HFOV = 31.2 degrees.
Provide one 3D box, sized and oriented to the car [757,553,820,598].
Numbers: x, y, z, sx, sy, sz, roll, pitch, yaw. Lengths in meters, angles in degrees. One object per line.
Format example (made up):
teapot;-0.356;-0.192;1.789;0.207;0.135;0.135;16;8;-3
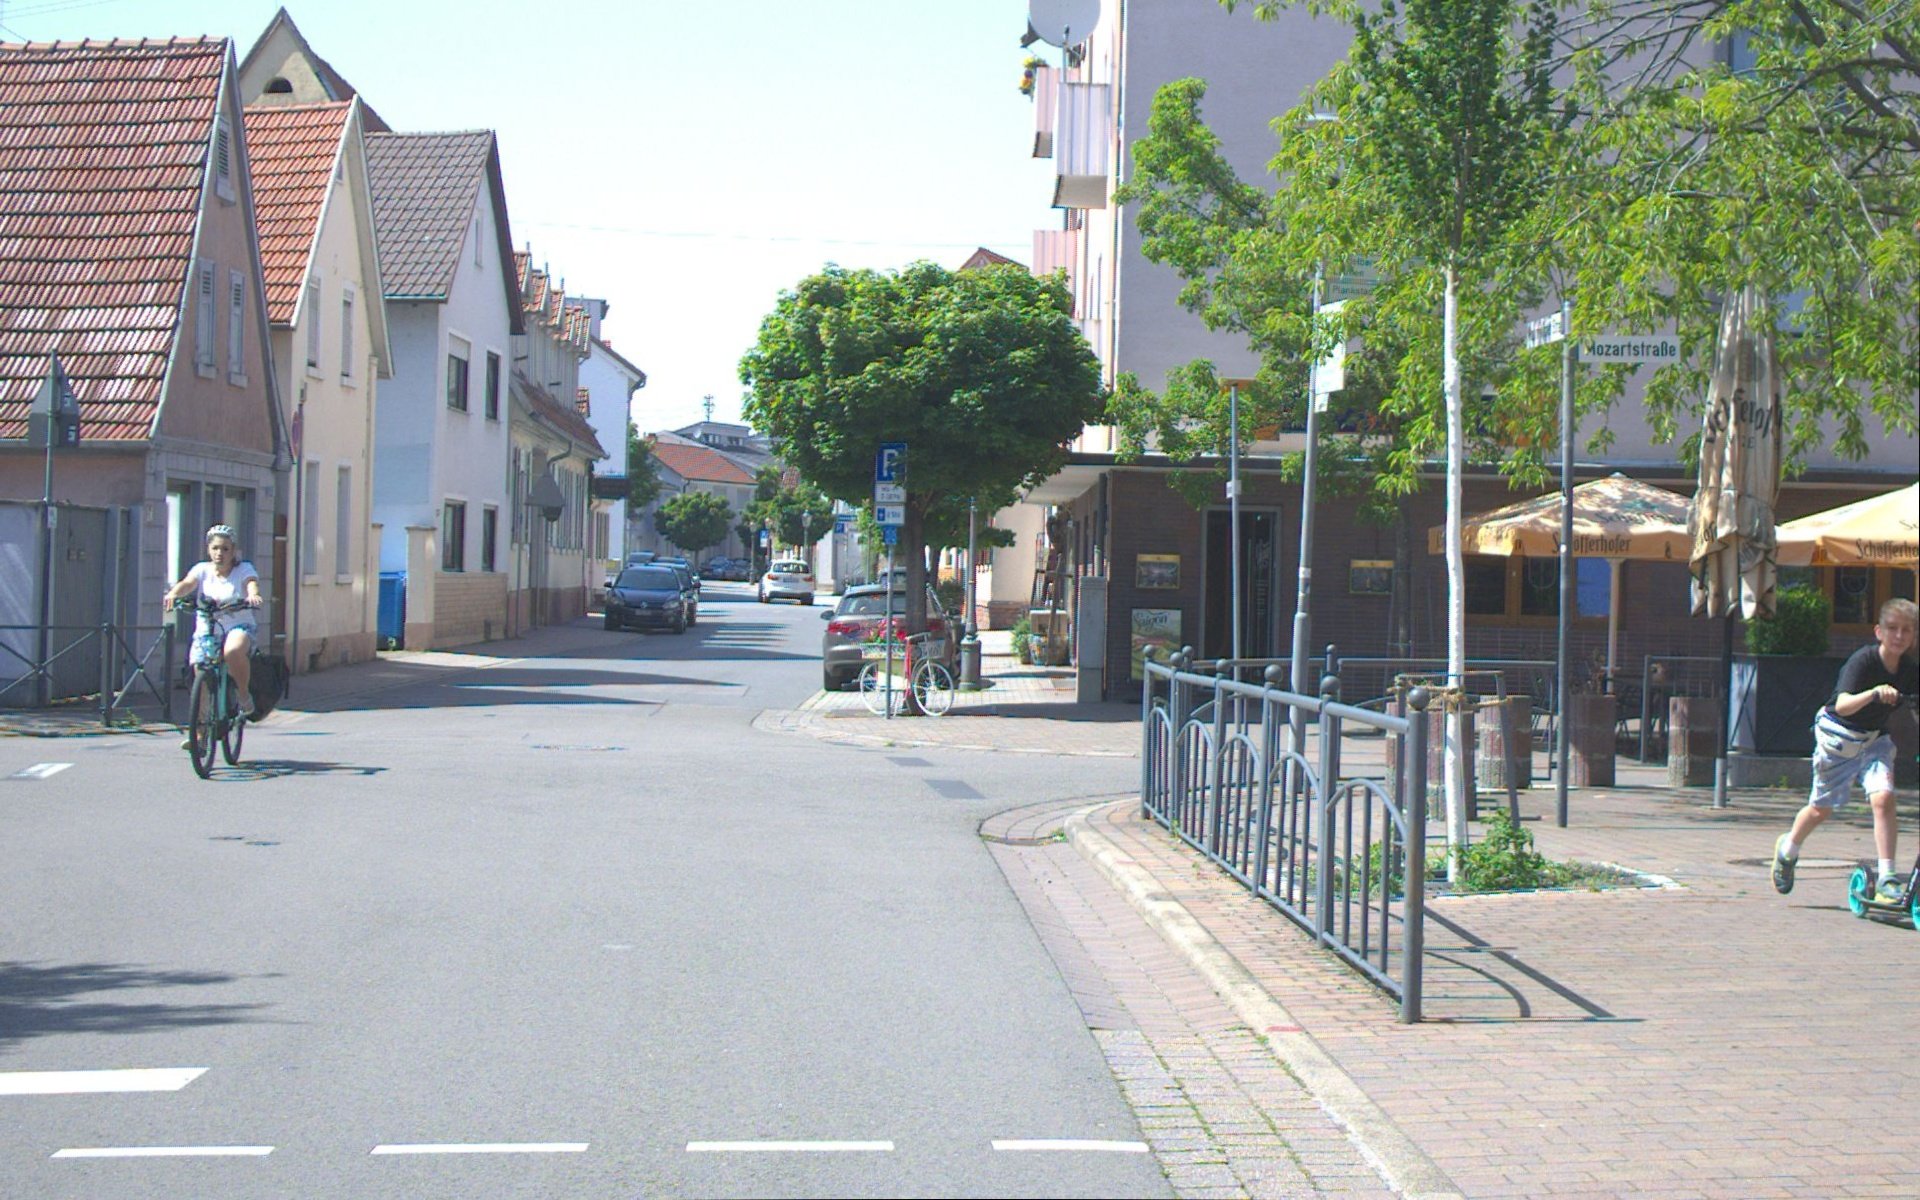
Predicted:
car;-6.253;-0.911;124.981;2.026;1.592;4.510;1;1;-6

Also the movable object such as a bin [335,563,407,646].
movable object such as a bin;-9.727;0.070;56.778;1.102;1.361;0.390;1;0;3

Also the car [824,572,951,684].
car;-0.958;0.359;47.198;1.576;1.449;3.486;1;0;1

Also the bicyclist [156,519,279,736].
bicyclist;-5.262;0.188;24.399;0.714;1.501;0.871;1;0;-4

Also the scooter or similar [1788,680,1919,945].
scooter or similar;3.556;0.812;13.433;0.411;0.962;0.960;1;0;1

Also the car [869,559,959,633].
car;-1.081;-0.117;81.065;2.043;1.683;4.842;1;1;-1

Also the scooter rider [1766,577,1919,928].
scooter rider;3.561;0.575;13.595;0.461;1.320;1.133;1;0;0

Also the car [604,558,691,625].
car;-7.079;-0.210;78.198;1.663;1.471;4.135;1;1;-1

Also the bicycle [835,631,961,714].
bicycle;-0.698;0.809;38.582;1.412;0.894;0.464;0;1;36

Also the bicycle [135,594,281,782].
bicycle;-5.307;0.595;24.352;0.708;1.248;1.972;1;0;-4

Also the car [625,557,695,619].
car;-7.385;-0.313;84.752;1.663;1.471;3.451;1;1;-4
